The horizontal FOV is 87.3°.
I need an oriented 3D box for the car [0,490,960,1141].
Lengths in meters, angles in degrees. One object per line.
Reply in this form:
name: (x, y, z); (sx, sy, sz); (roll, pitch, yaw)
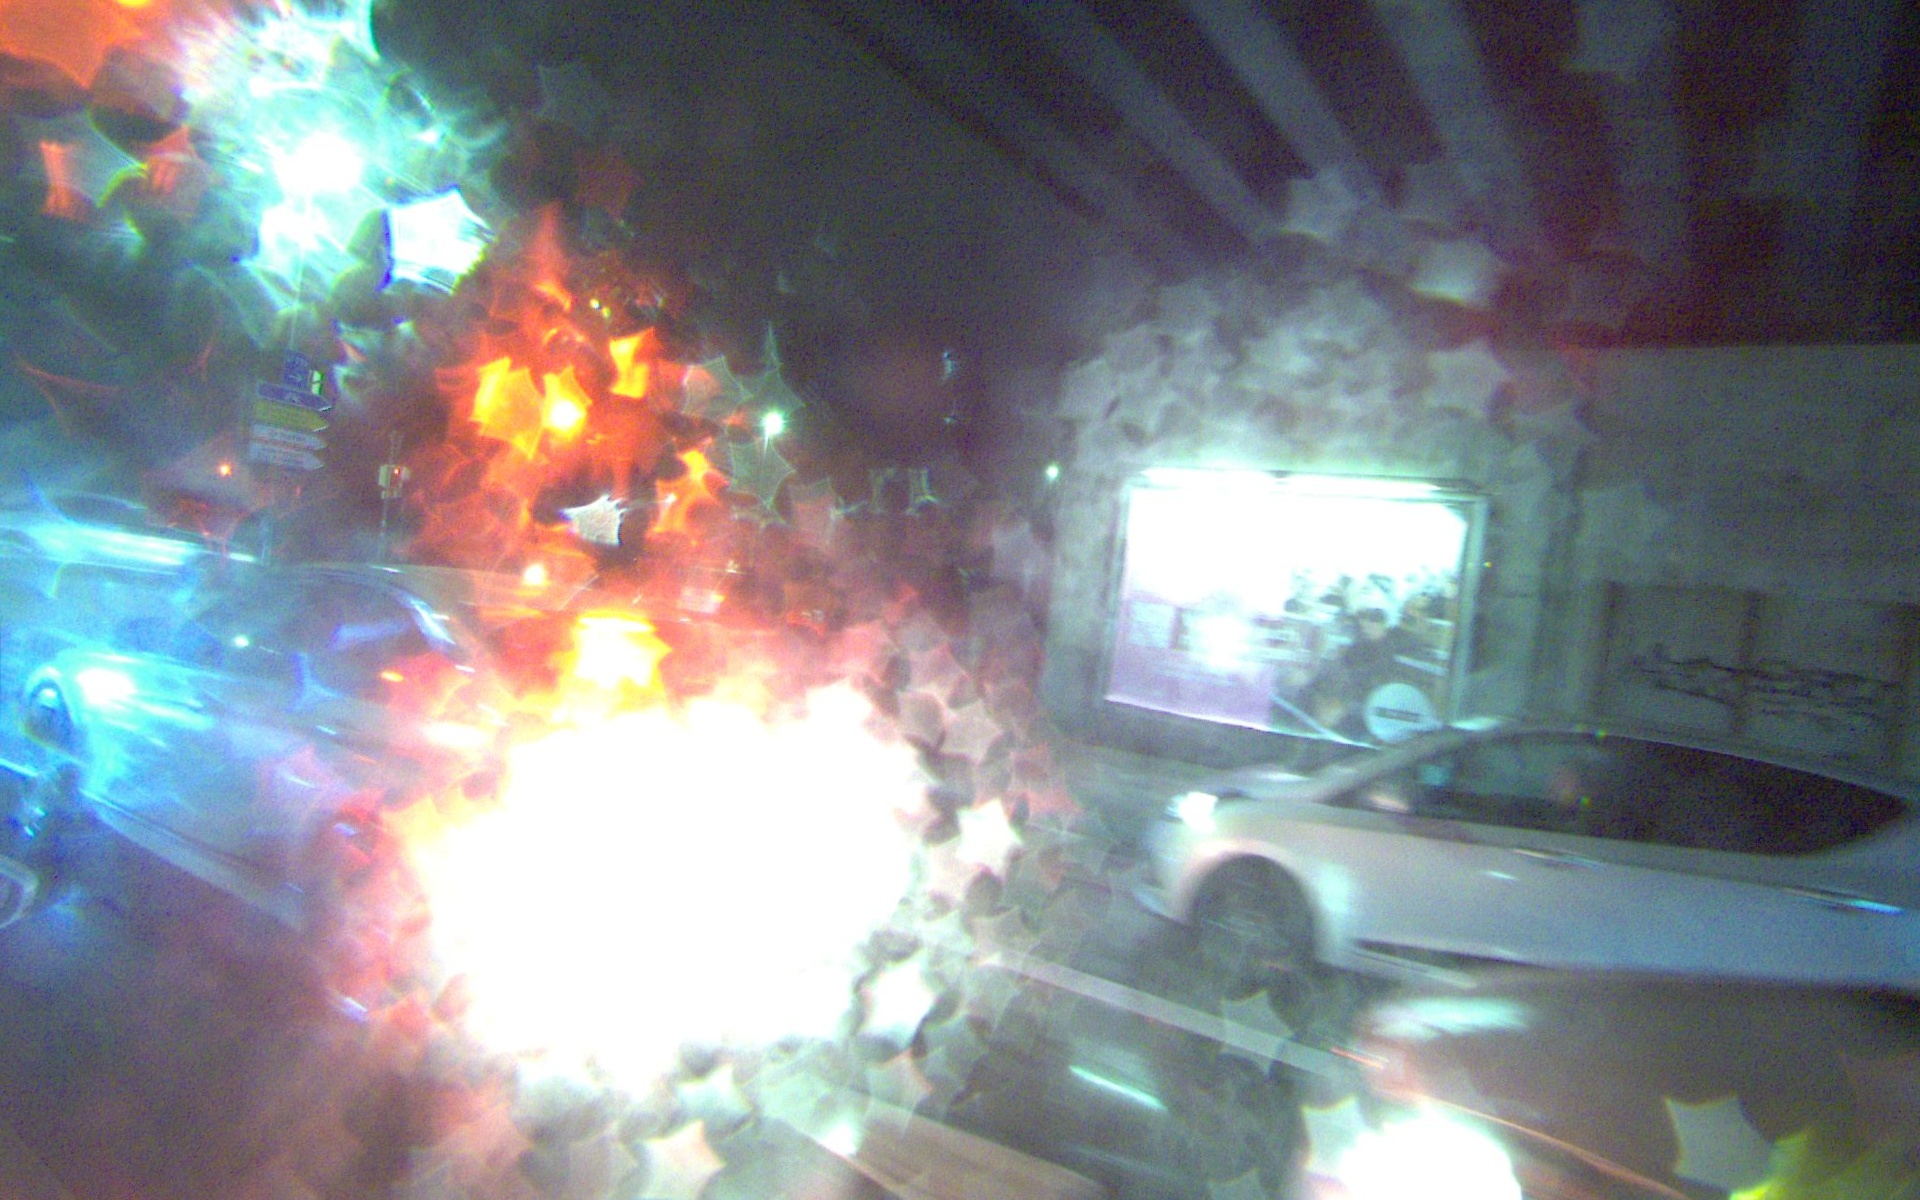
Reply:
car: (-2.341, 0.470, 4.370); (4.309, 1.465, 1.722); (7, 1, 31)

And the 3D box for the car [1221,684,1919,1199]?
car: (2.622, 1.138, 1.360); (4.092, 1.464, 1.723); (7, -1, 31)

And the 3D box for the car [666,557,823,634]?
car: (-6.667, -0.086, 31.625); (1.807, 1.790, 4.829); (7, -2, 33)

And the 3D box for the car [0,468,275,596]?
car: (-15.302, -1.216, 18.258); (4.402, 1.669, 1.814); (9, -2, -44)

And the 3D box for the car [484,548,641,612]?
car: (-14.079, -0.665, 35.882); (1.826, 1.609, 4.849); (6, -2, 39)

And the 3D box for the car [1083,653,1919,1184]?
car: (2.880, 1.246, 4.830); (4.092, 1.465, 1.722); (7, 1, 31)
